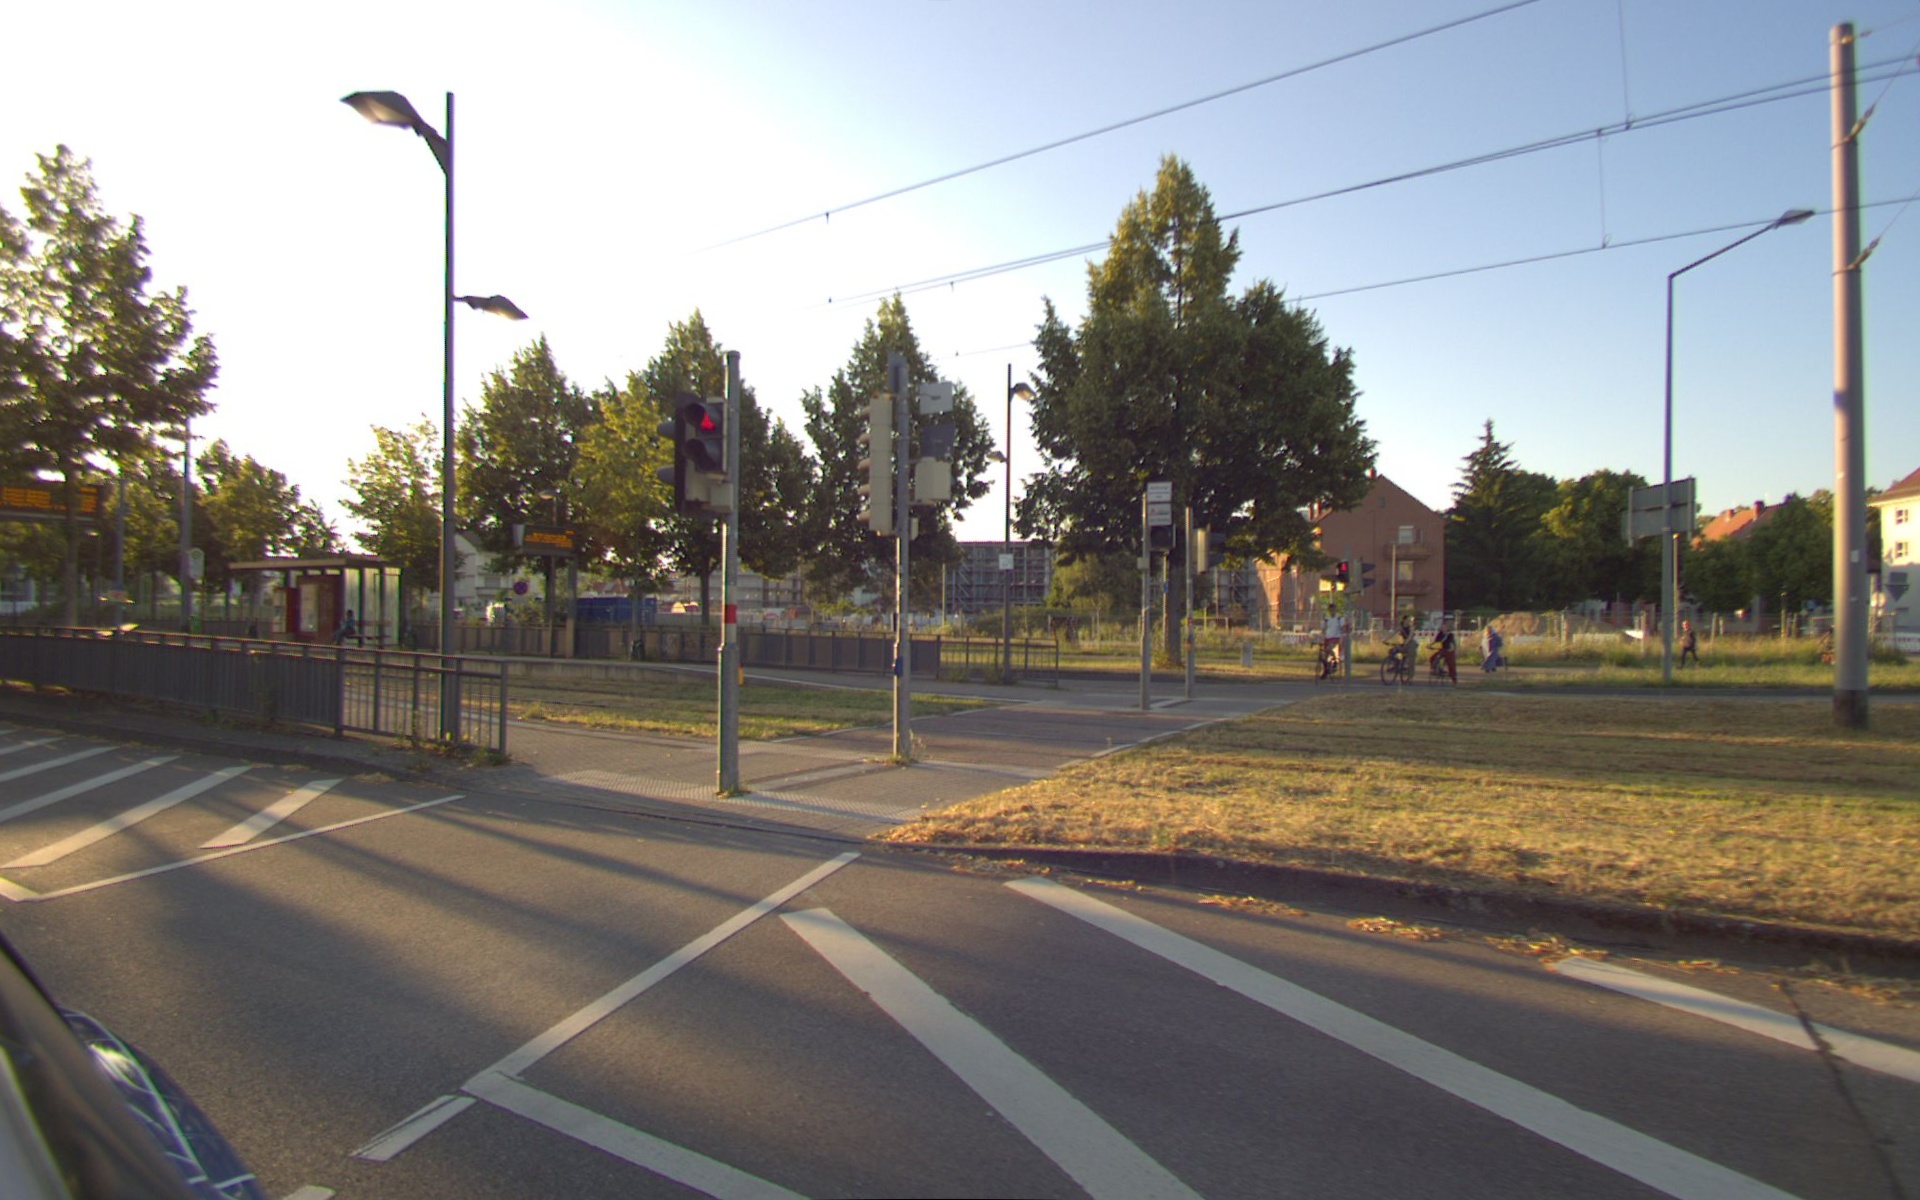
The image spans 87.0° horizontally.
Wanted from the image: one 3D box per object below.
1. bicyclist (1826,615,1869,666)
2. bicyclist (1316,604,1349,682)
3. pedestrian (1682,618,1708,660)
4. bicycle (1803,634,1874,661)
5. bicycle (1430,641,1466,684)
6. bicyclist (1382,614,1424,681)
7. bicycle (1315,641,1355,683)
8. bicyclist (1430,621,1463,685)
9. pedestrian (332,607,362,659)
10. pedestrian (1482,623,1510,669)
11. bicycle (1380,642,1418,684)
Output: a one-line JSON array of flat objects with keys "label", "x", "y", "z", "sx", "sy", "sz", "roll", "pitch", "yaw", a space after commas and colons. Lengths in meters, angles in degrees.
[{"label": "bicyclist", "x": 29.270, "y": 1.333, "z": 33.394, "sx": 0.785, "sy": 1.646, "sz": 0.697, "roll": 0, "pitch": -2, "yaw": -10}, {"label": "bicyclist", "x": 9.444, "y": 1.073, "z": 25.645, "sx": 0.614, "sy": 1.933, "sz": 0.670, "roll": -1, "pitch": -2, "yaw": 34}, {"label": "pedestrian", "x": 24.535, "y": 1.300, "z": 33.781, "sx": 0.496, "sy": 1.376, "sz": 0.434, "roll": 0, "pitch": -1, "yaw": 0}, {"label": "bicycle", "x": 29.047, "y": 1.564, "z": 33.461, "sx": 2.101, "sy": 0.852, "sz": 0.513, "roll": 0, "pitch": -2, "yaw": -10}, {"label": "bicycle", "x": 12.018, "y": 1.524, "z": 24.907, "sx": 0.536, "sy": 0.988, "sz": 1.822, "roll": -1, "pitch": -2, "yaw": 34}, {"label": "bicyclist", "x": 11.155, "y": 1.189, "z": 25.471, "sx": 0.813, "sy": 1.653, "sz": 0.805, "roll": -1, "pitch": -2, "yaw": 34}, {"label": "bicycle", "x": 9.573, "y": 1.560, "z": 25.806, "sx": 0.548, "sy": 0.988, "sz": 1.822, "roll": -1, "pitch": -2, "yaw": 34}, {"label": "bicyclist", "x": 11.885, "y": 1.279, "z": 24.732, "sx": 0.591, "sy": 1.517, "sz": 0.805, "roll": -1, "pitch": -2, "yaw": 34}, {"label": "pedestrian", "x": -19.869, "y": 1.063, "z": 32.803, "sx": 0.444, "sy": 1.645, "sz": 0.701, "roll": -1, "pitch": -2, "yaw": 29}, {"label": "pedestrian", "x": 16.451, "y": 1.406, "z": 31.055, "sx": 0.693, "sy": 1.376, "sz": 0.612, "roll": -1, "pitch": -2, "yaw": 34}, {"label": "bicycle", "x": 11.066, "y": 1.561, "z": 25.499, "sx": 0.548, "sy": 0.988, "sz": 1.822, "roll": -1, "pitch": -2, "yaw": 34}]
